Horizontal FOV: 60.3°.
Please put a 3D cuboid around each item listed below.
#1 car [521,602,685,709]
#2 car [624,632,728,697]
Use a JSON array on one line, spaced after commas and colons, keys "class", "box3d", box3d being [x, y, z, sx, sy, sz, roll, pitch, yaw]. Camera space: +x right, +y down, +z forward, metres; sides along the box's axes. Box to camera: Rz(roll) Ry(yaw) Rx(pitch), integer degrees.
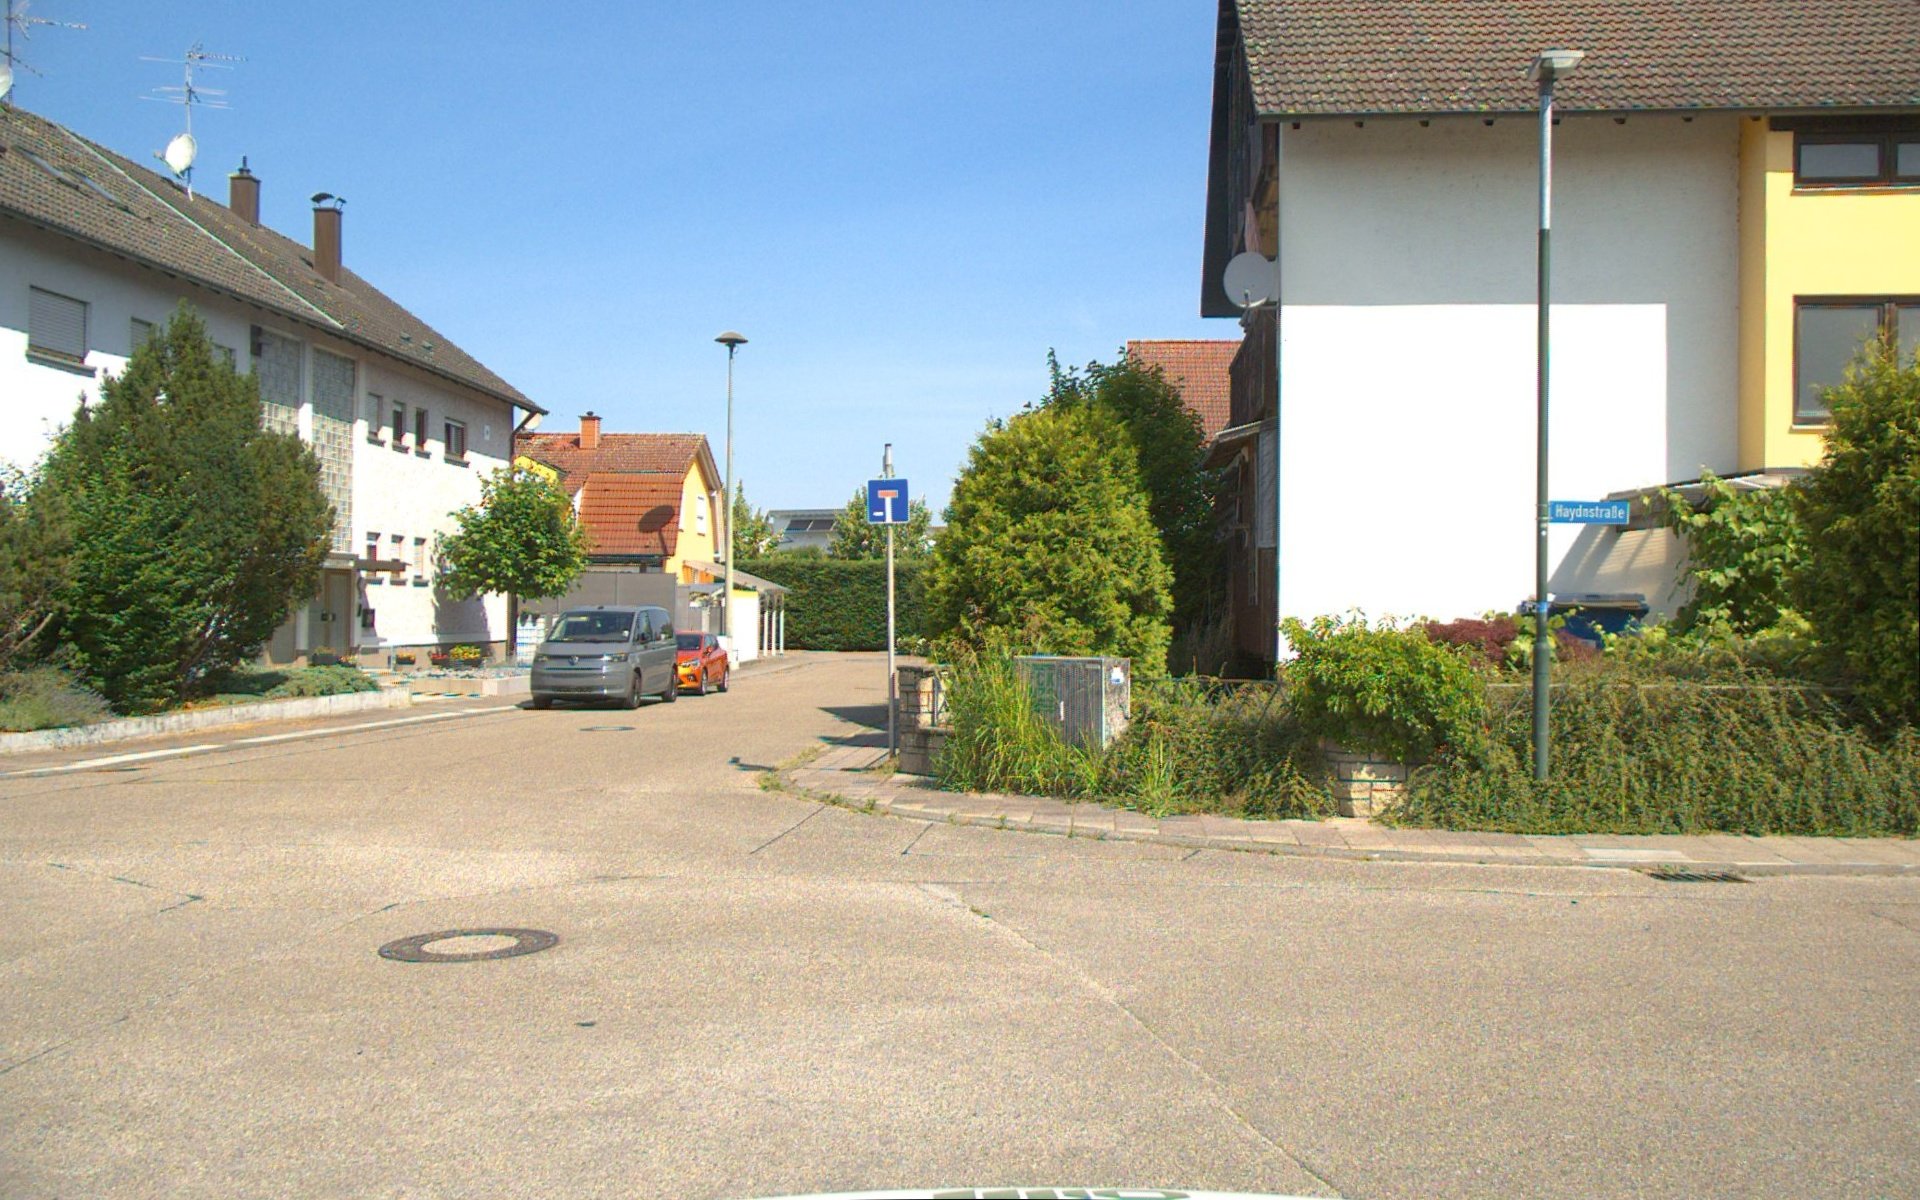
[{"class": "car", "box3d": [-6.748, 1.008, 31.762, 1.861, 1.902, 4.374, 0, 0, 5]}, {"class": "car", "box3d": [-6.513, 1.459, 38.246, 1.617, 1.389, 3.780, 0, -1, 2]}]
